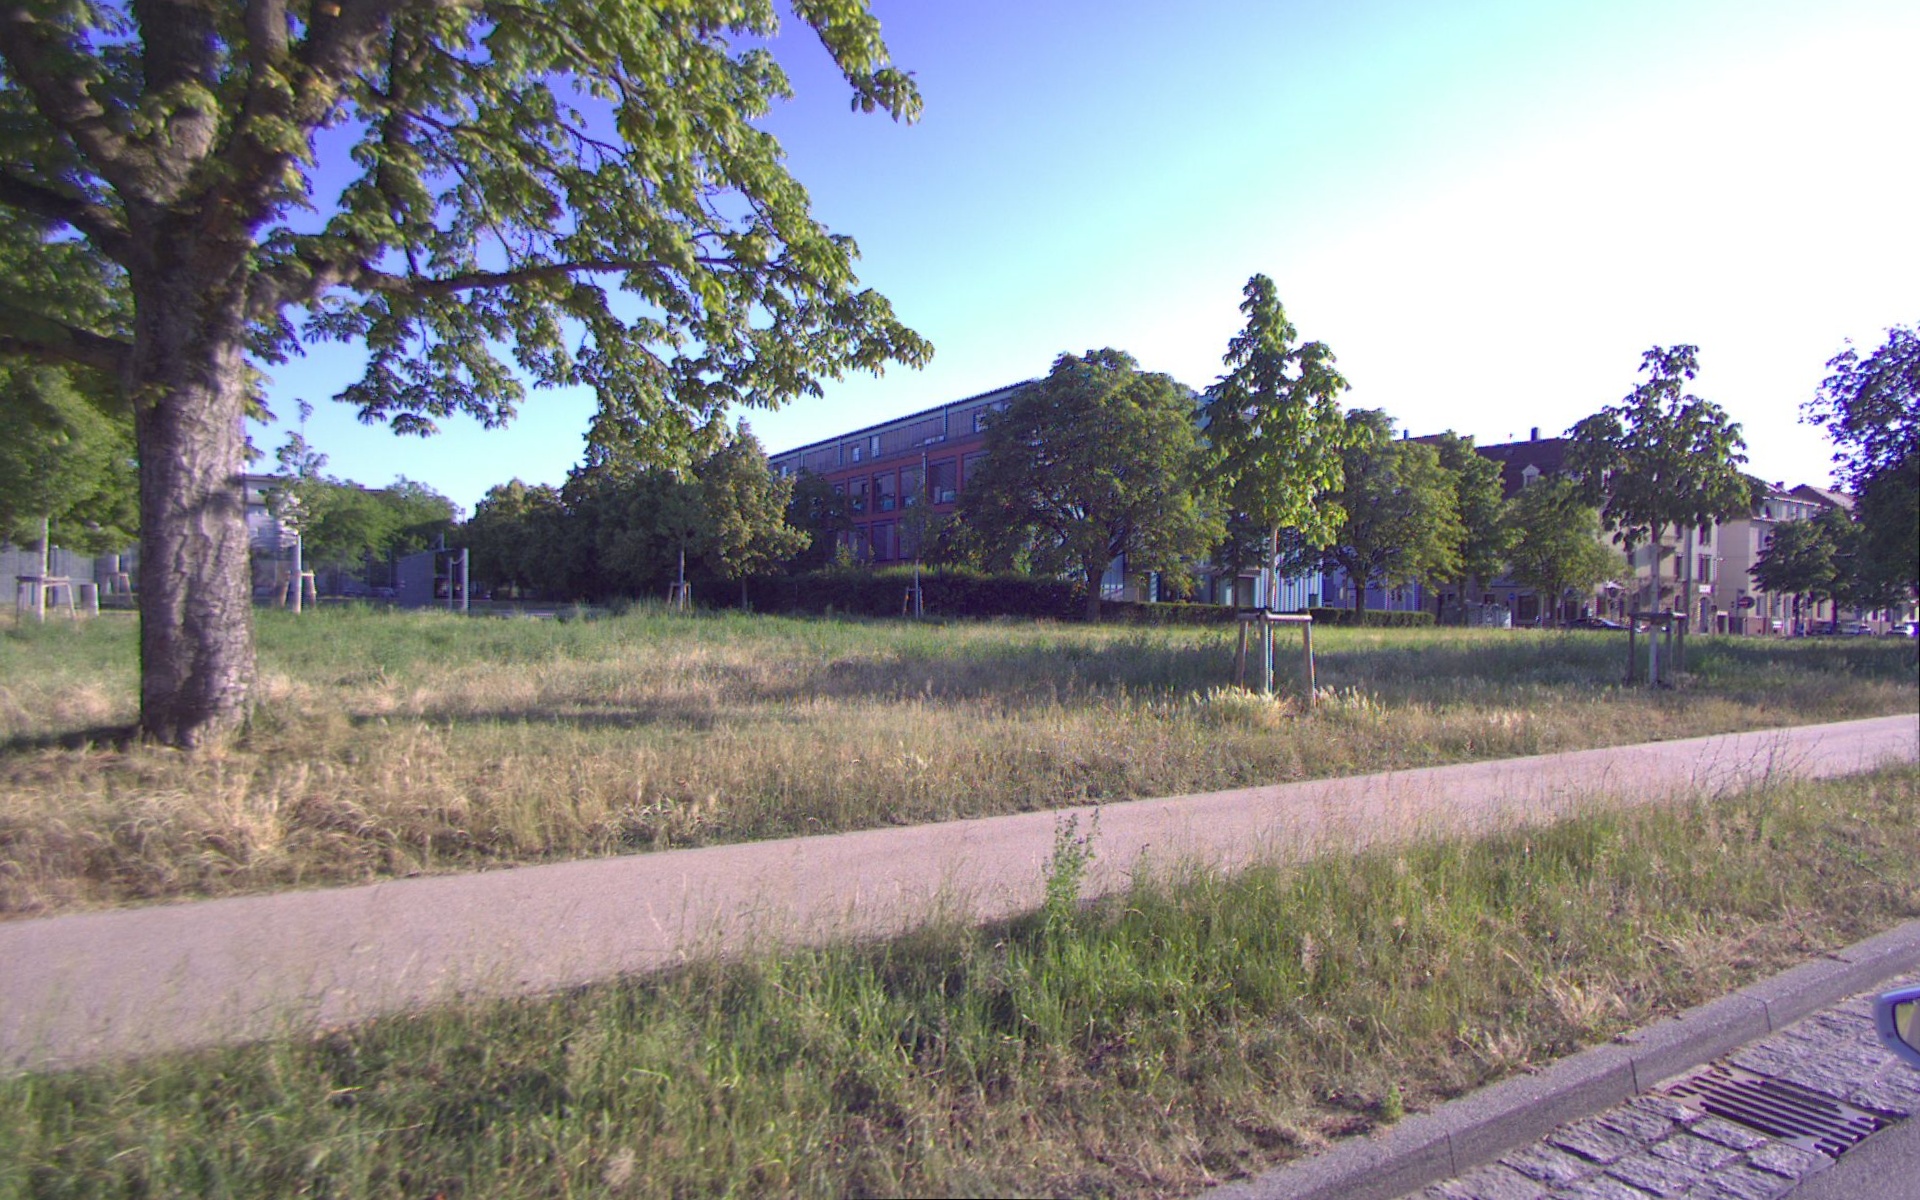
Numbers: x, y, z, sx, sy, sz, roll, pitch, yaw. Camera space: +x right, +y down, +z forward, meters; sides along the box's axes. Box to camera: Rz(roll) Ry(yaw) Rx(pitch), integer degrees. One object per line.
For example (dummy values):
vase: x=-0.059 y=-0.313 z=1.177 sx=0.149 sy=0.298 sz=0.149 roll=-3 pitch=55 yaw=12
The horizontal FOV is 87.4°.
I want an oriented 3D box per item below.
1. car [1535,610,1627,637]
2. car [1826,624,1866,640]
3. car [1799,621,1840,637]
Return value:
car: x=40.002 y=1.505 z=64.811 sx=1.799 sy=1.453 sz=4.728 roll=2 pitch=0 yaw=-38
car: x=91.869 y=3.303 z=104.124 sx=3.740 sy=1.446 sz=1.733 roll=0 pitch=1 yaw=-25
car: x=86.355 y=2.913 z=100.928 sx=3.740 sy=1.416 sz=1.733 roll=1 pitch=1 yaw=-24
